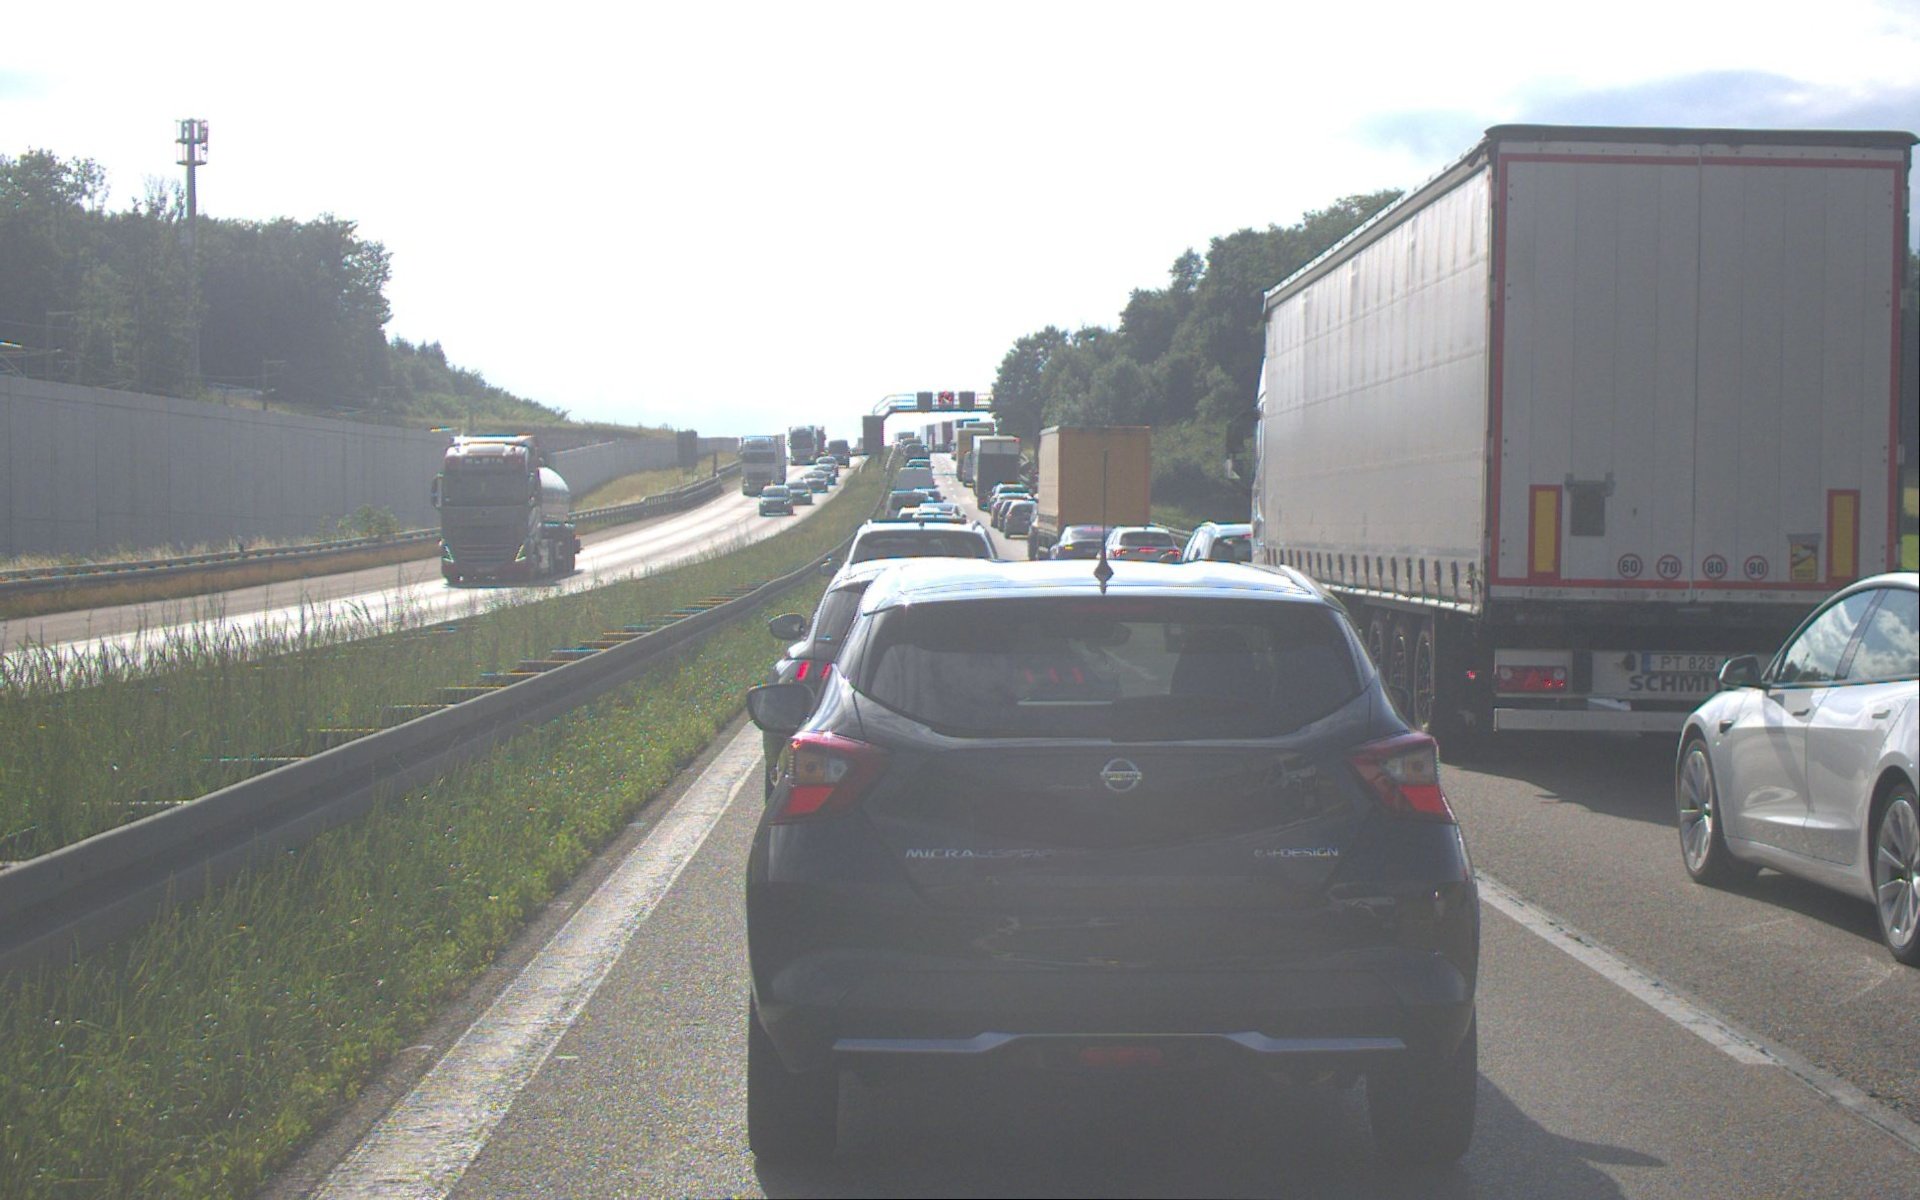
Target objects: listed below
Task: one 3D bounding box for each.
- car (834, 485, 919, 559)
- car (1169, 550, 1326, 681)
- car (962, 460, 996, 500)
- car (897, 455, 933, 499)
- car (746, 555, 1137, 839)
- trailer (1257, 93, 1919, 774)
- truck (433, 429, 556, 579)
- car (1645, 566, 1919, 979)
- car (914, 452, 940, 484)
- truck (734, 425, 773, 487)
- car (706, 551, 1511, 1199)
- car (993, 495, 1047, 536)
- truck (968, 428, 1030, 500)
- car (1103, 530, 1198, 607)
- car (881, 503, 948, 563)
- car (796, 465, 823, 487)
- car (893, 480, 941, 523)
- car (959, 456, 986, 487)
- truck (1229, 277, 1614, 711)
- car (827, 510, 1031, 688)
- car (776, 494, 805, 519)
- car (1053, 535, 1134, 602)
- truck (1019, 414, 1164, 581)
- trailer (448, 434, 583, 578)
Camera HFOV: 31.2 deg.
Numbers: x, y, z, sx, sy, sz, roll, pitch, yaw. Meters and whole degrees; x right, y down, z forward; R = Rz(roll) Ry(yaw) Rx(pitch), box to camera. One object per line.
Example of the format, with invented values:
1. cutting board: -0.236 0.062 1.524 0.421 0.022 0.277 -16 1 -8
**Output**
1. car: -1.895 -1.821 79.319 1.873 1.638 4.233 0 2 0
2. car: 3.666 0.164 44.502 1.697 1.605 4.437 0 1 1
3. car: 1.089 -6.982 200.029 1.873 2.151 5.212 0 4 -1
4. car: -2.388 -6.553 182.689 1.873 2.151 5.212 0 4 -1
5. car: -0.105 0.436 18.597 1.873 1.353 4.232 0 1 0
6. trailer: 4.513 -0.979 27.032 3.130 3.997 13.366 1 0 0
7. truck: -12.692 -2.586 94.025 2.582 3.909 5.722 -1 1 -1
8. car: 4.129 0.584 13.532 1.788 1.389 4.437 0 1 -3
9. car: -2.430 -9.682 251.780 1.873 2.151 5.212 0 4 -1
10. truck: -14.548 -10.128 242.382 2.380 4.167 5.932 -1 1 -1
11. car: 0.313 0.588 9.701 1.773 1.446 4.232 0 1 0
12. car: 2.478 -3.523 143.071 1.873 1.638 4.233 0 2 -4
13. truck: 2.515 -8.918 225.703 3.464 4.561 12.443 1 2 -2
14. car: 4.286 -0.738 77.819 1.873 1.638 4.233 0 2 0
15. car: -1.288 -1.940 98.766 1.873 1.638 4.233 0 2 0
16. car: -10.686 -8.809 244.031 1.769 1.474 3.829 0 1 0
17. car: -1.739 -3.990 138.651 1.873 1.638 4.233 0 2 -2
18. car: 0.933 -9.555 255.168 1.873 2.151 5.212 0 4 -1
19. truck: 4.496 -0.992 34.565 3.133 4.002 5.163 1 0 0
20. car: -0.301 -0.037 33.804 1.873 1.638 4.232 0 1 0
21. car: -10.619 -5.872 215.272 1.697 1.494 4.427 0 1 -1
22. car: 3.364 -0.820 87.267 1.873 1.638 4.232 0 1 0
23. truck: 3.733 -2.857 100.751 3.296 4.562 12.442 1 0 -2
24. trailer: -12.777 -2.646 99.642 2.588 3.888 10.865 -1 1 -1
